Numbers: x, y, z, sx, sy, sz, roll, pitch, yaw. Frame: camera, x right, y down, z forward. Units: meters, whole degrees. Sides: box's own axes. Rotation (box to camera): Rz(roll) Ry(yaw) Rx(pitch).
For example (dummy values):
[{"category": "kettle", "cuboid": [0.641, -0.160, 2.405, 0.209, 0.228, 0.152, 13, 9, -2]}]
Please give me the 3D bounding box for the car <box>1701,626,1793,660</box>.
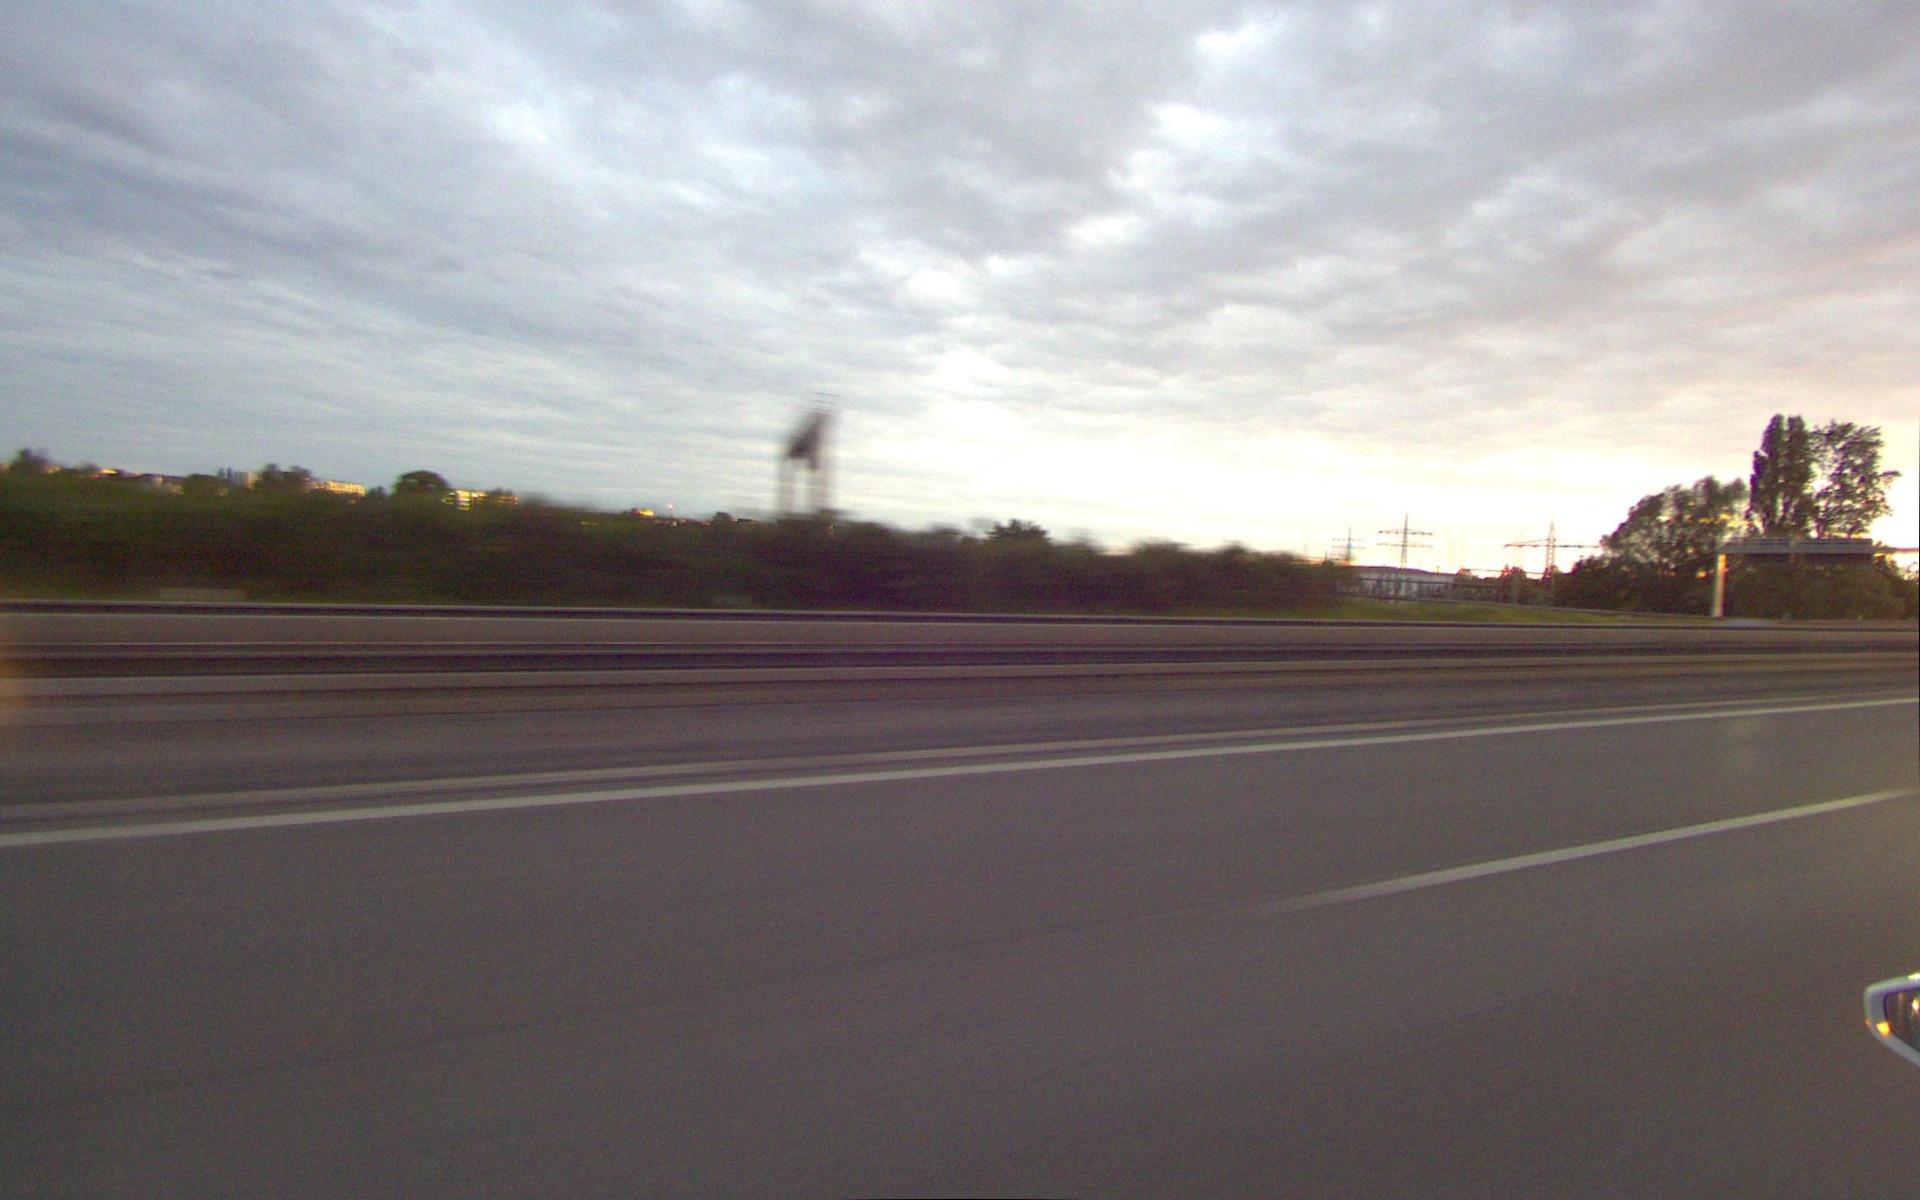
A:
[{"category": "car", "cuboid": [36.804, 1.994, 46.937, 4.280, 1.422, 1.983, 2, 1, -31]}]
